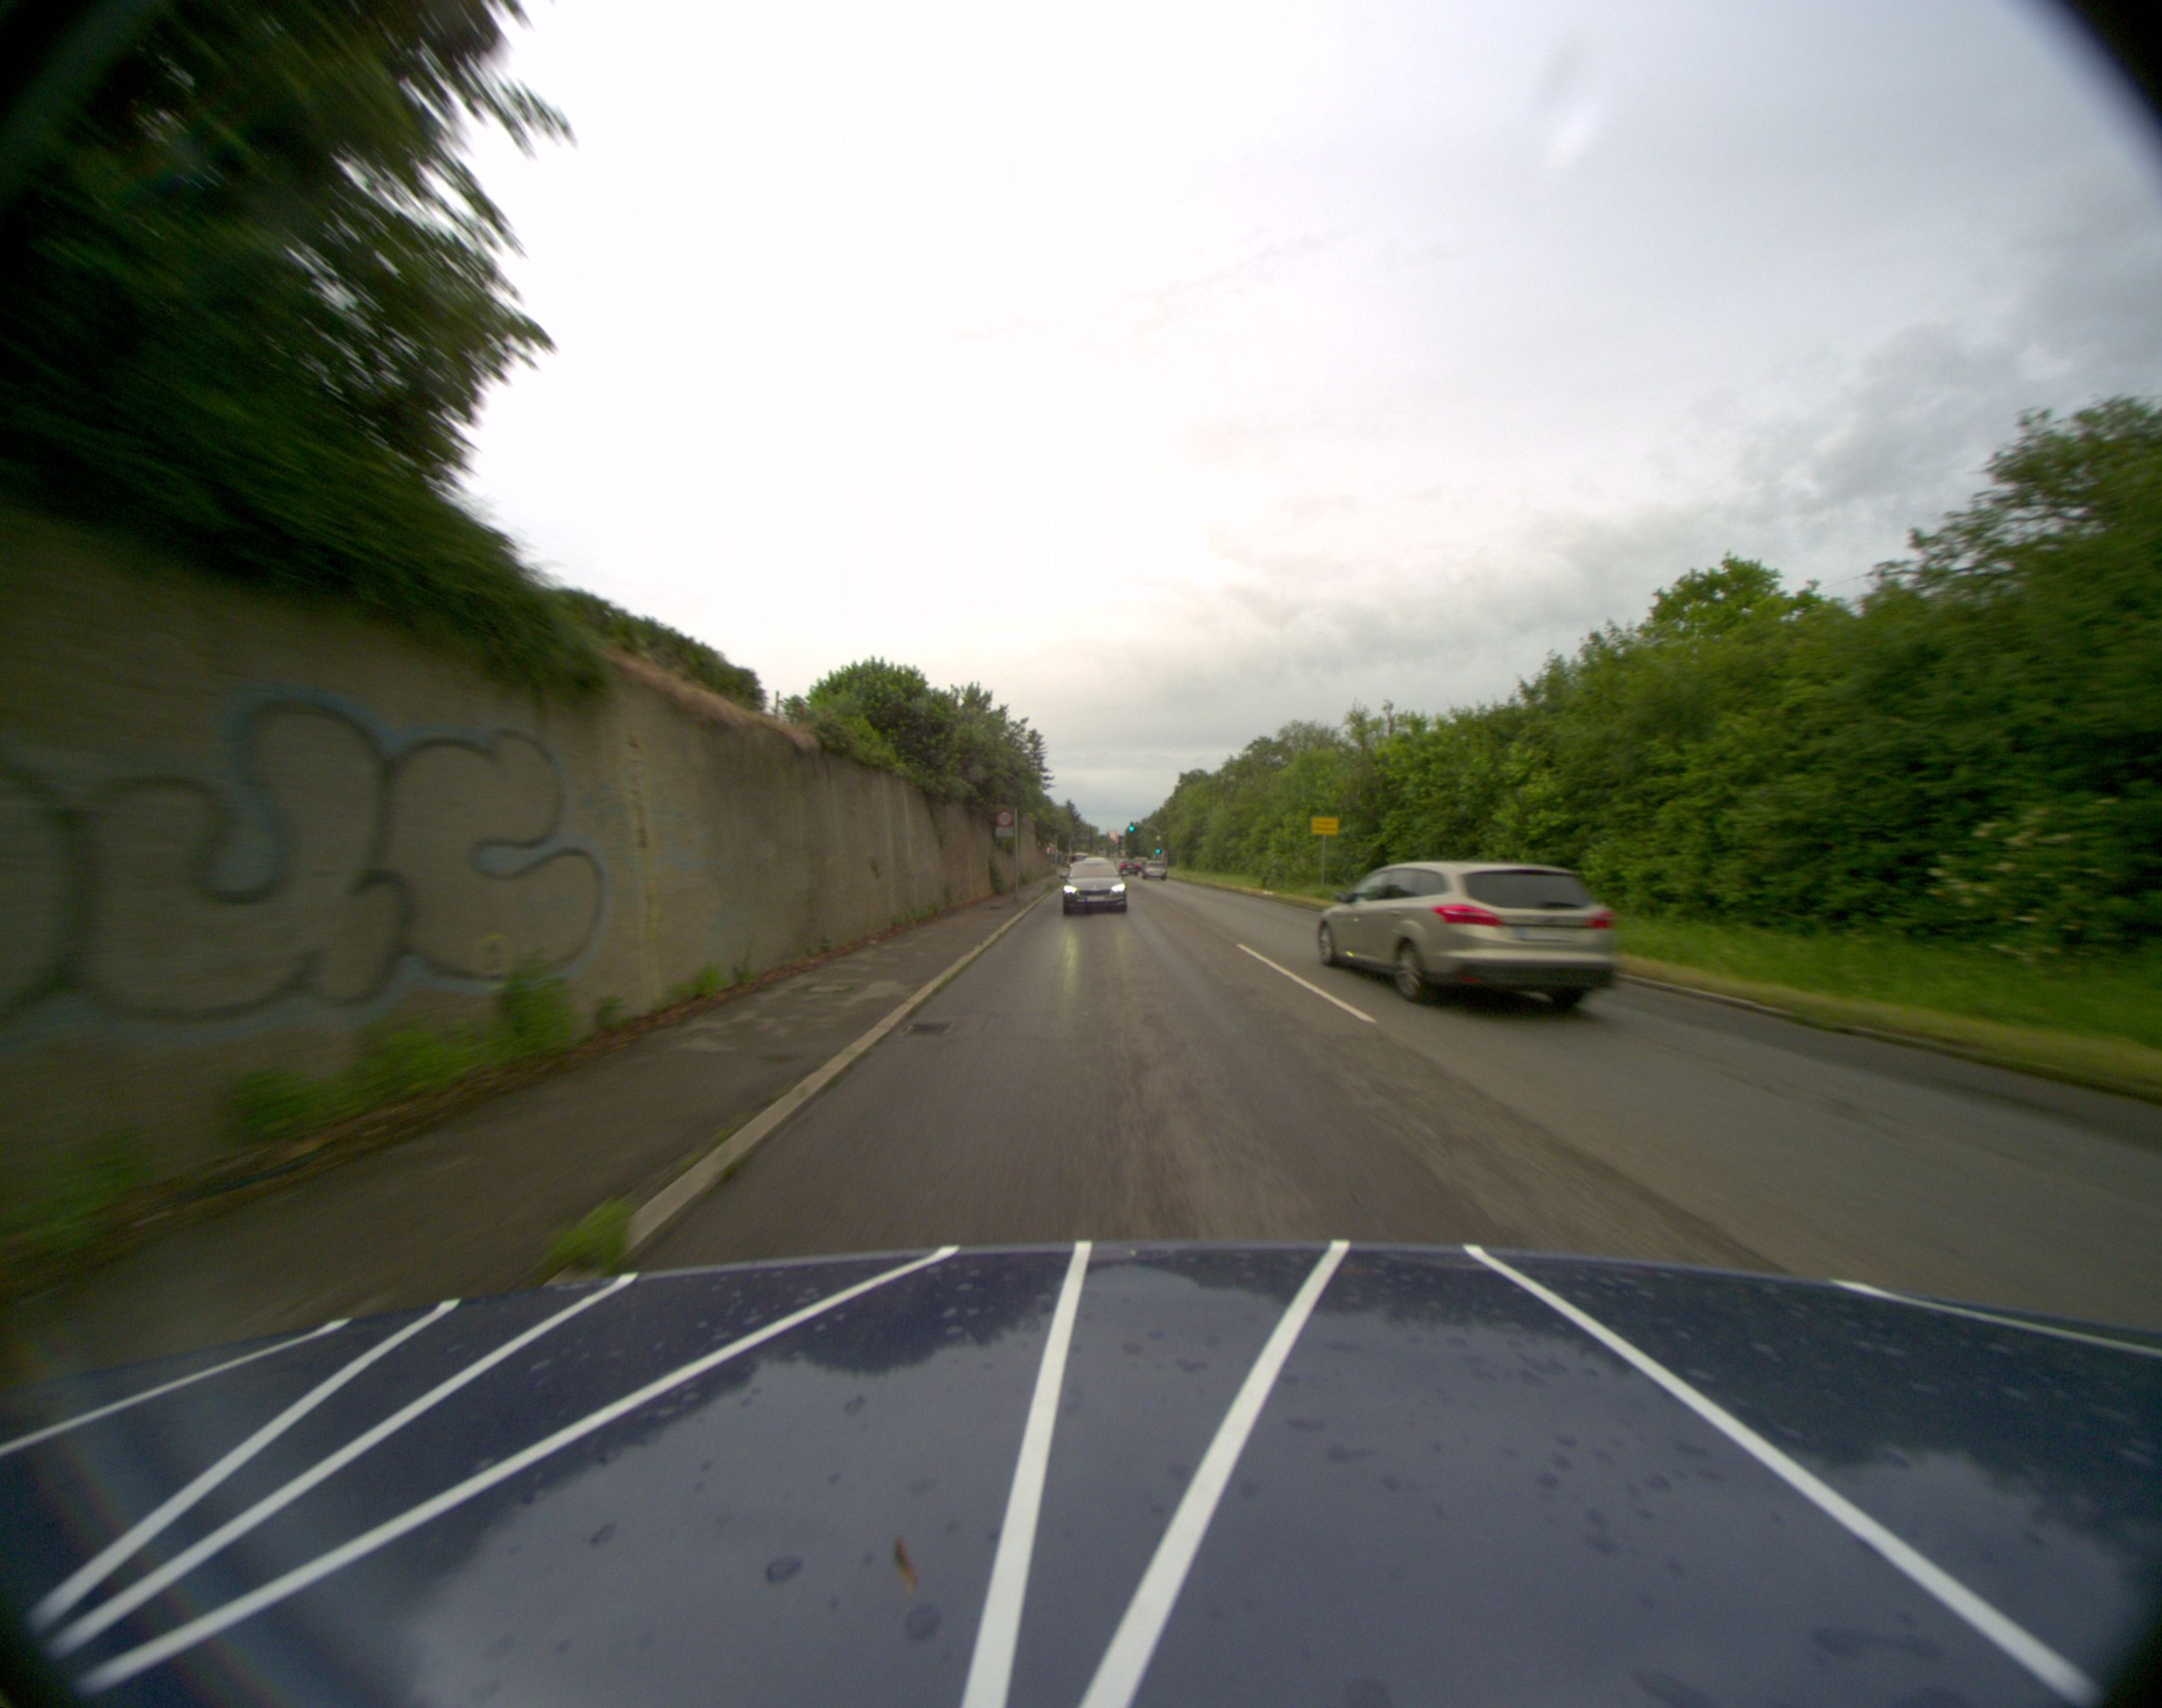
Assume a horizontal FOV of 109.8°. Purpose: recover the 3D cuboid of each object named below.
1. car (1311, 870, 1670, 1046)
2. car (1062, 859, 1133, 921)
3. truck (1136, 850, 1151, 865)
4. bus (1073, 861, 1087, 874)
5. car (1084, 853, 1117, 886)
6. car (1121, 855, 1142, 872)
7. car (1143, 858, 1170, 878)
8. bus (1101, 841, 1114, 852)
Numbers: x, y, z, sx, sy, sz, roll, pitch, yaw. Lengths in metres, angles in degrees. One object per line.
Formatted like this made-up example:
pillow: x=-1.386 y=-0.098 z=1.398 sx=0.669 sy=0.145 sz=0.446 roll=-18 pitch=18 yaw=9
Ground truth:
car: x=4.179 y=0.944 z=8.714 sx=1.830 sy=1.411 sz=4.320 roll=1 pitch=0 yaw=1
car: x=0.431 y=0.903 z=20.885 sx=1.675 sy=1.477 sz=4.215 roll=-2 pitch=0 yaw=1
truck: x=10.726 y=0.625 z=130.280 sx=2.479 sy=2.494 sz=5.640 roll=2 pitch=0 yaw=5
bus: x=-0.116 y=2.051 z=117.659 sx=1.998 sy=1.812 sz=4.486 roll=2 pitch=0 yaw=0
car: x=1.037 y=0.829 z=42.639 sx=1.704 sy=1.724 sz=3.999 roll=0 pitch=1 yaw=0
car: x=5.099 y=0.970 z=76.683 sx=1.737 sy=1.584 sz=4.281 roll=2 pitch=0 yaw=-1
car: x=5.885 y=1.085 z=59.578 sx=1.806 sy=1.423 sz=4.179 roll=2 pitch=0 yaw=1
bus: x=7.945 y=-2.225 z=227.899 sx=3.175 sy=3.241 sz=8.216 roll=2 pitch=0 yaw=7
